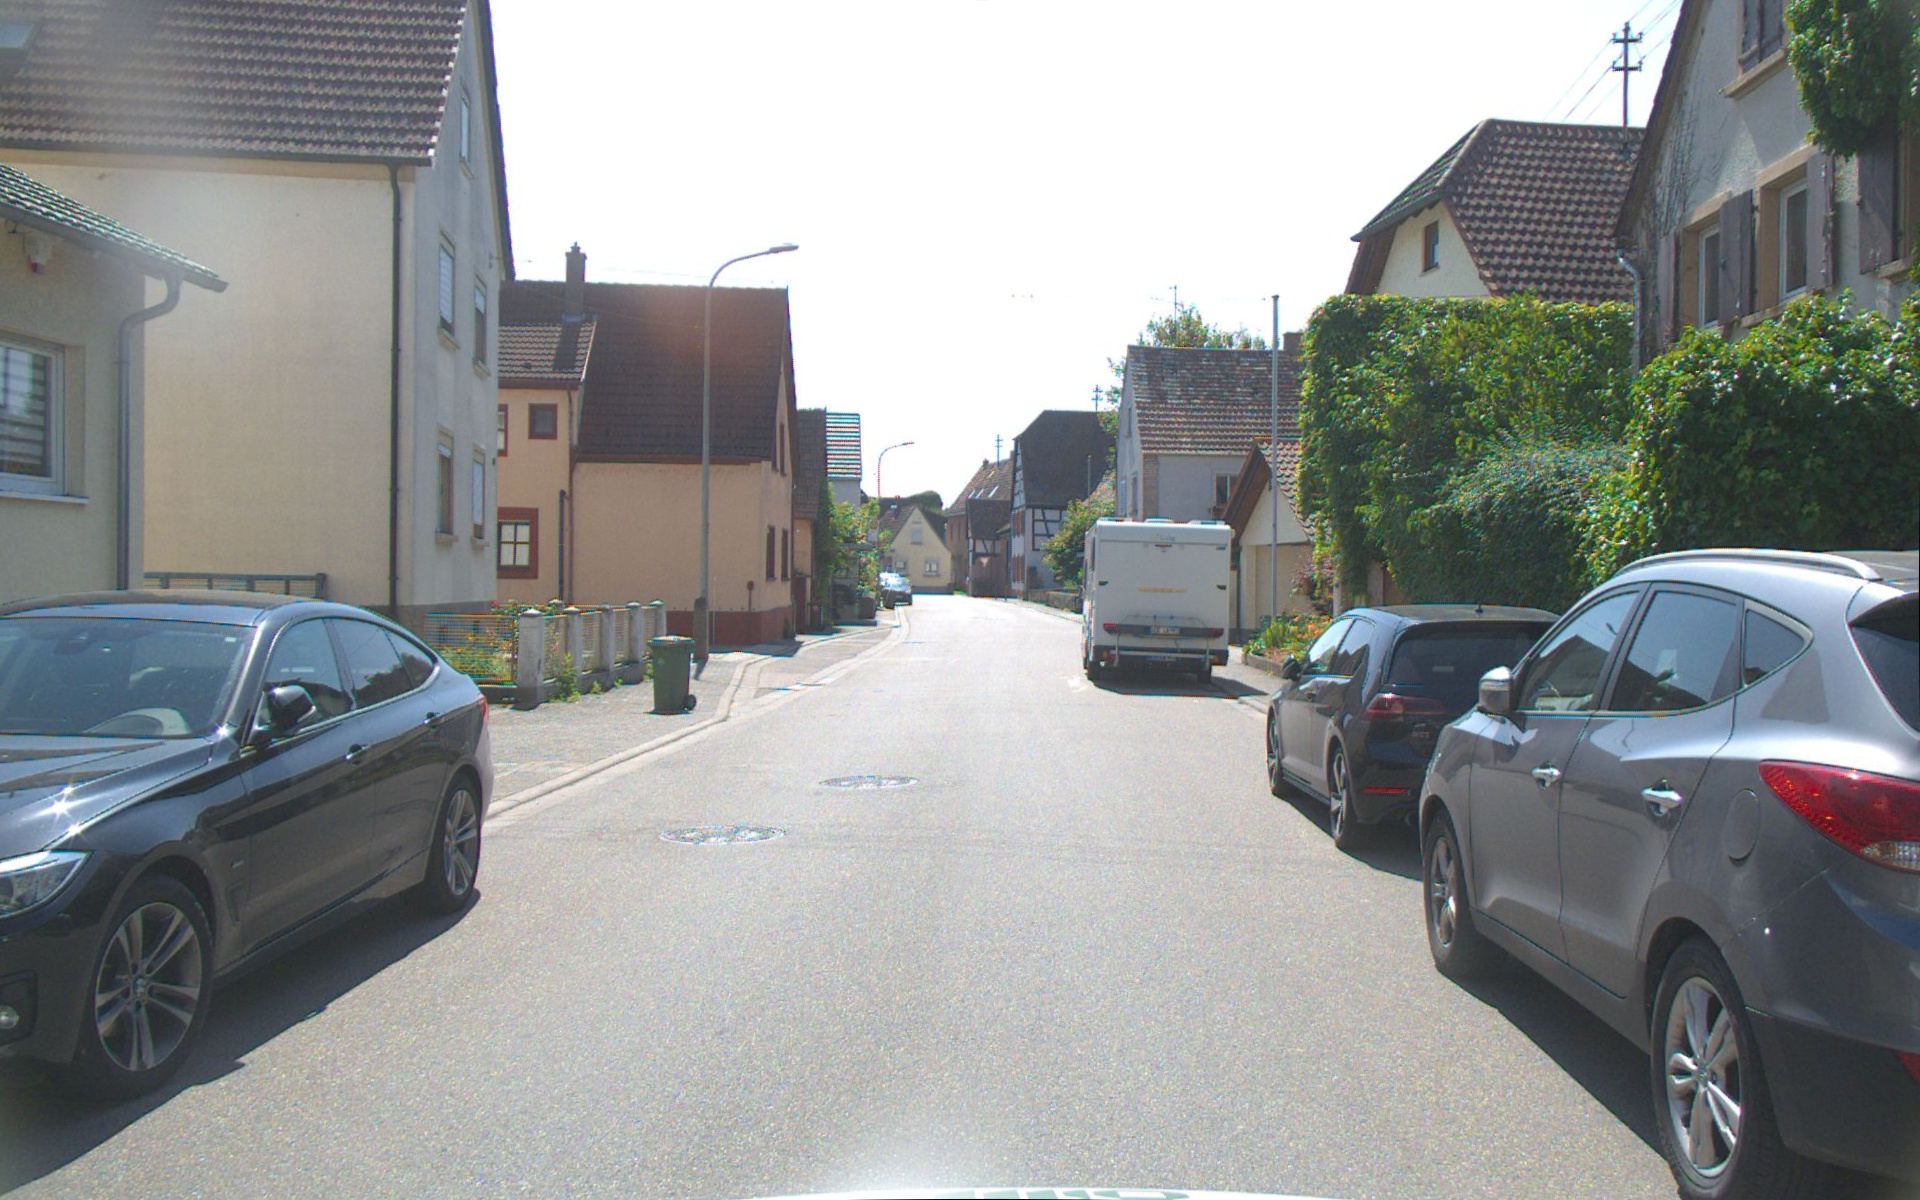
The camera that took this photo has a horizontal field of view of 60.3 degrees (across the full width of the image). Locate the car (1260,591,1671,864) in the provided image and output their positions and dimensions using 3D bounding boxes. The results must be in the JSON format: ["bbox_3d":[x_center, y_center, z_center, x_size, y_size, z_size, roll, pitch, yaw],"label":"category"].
[{"bbox_3d":[3.174,0.700,11.229,1.676,1.489,4.066,-1,0,2],"label":"car"}]

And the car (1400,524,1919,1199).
[{"bbox_3d":[2.780,0.649,5.288,1.756,1.659,4.362,0,1,2],"label":"car"}]

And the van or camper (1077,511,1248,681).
[{"bbox_3d":[3.434,-0.079,29.008,2.470,2.744,4.555,0,0,0],"label":"van or camper"}]

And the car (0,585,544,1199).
[{"bbox_3d":[-3.203,0.721,6.469,1.806,1.553,4.766,0,0,2],"label":"car"}]

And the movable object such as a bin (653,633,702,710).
[{"bbox_3d":[-3.685,0.932,21.605,0.528,0.966,0.553,1,0,1],"label":"movable object such as a bin"}]

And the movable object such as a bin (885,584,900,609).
[{"bbox_3d":[-3.258,-0.189,80.170,0.674,1.206,0.714,-1,0,1],"label":"movable object such as a bin"}]

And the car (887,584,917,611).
[{"bbox_3d":[-3.221,-0.173,92.630,1.480,1.461,3.512,-1,0,1],"label":"car"}]
